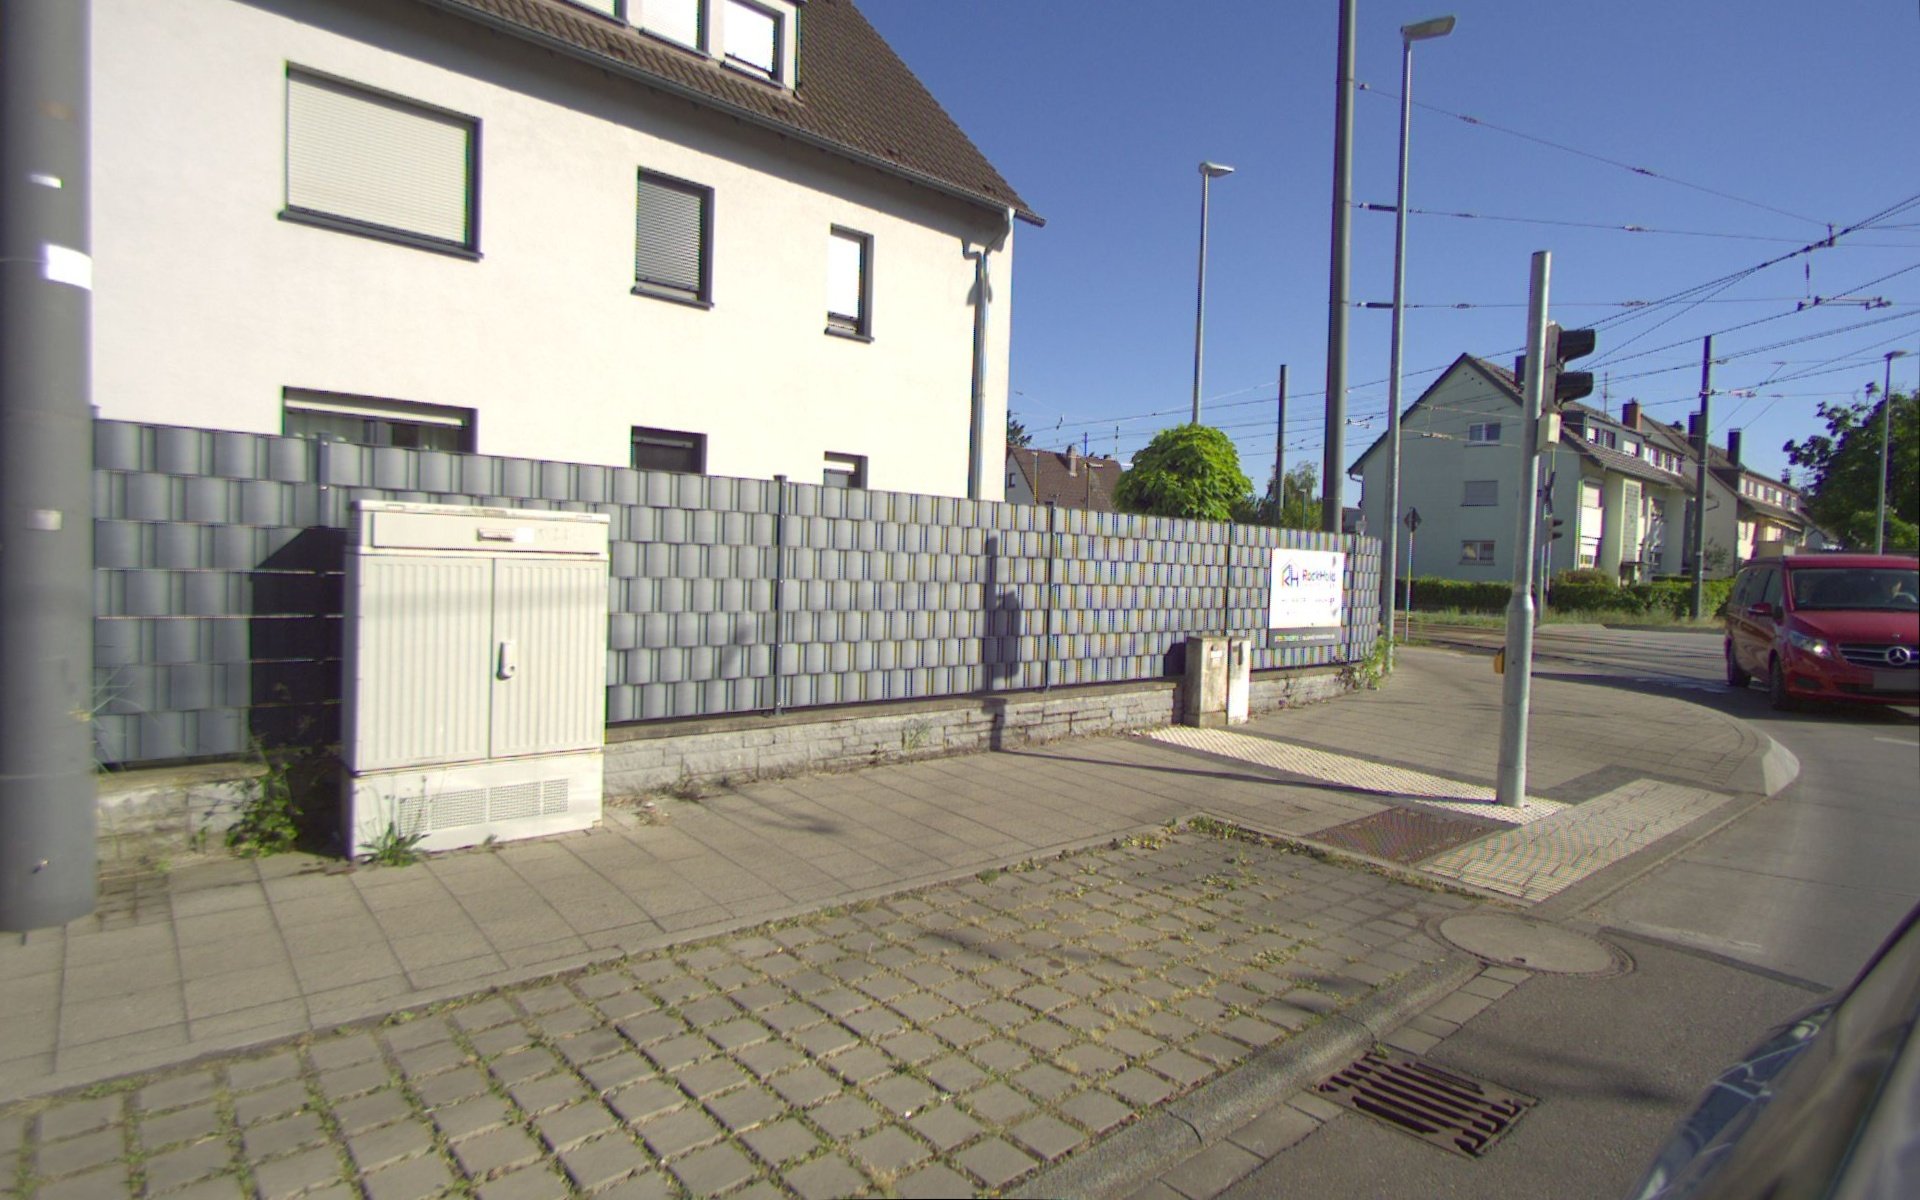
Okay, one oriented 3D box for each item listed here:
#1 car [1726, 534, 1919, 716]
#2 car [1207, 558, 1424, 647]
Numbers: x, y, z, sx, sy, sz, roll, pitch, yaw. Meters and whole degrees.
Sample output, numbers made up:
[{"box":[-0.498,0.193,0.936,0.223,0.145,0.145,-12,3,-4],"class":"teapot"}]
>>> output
[{"box":[11.808,0.222,13.386,1.983,2.006,5.183,2,2,30],"class":"car"},{"box":[7.417,-0.018,21.457,1.796,1.598,4.001,0,3,-36],"class":"car"}]
